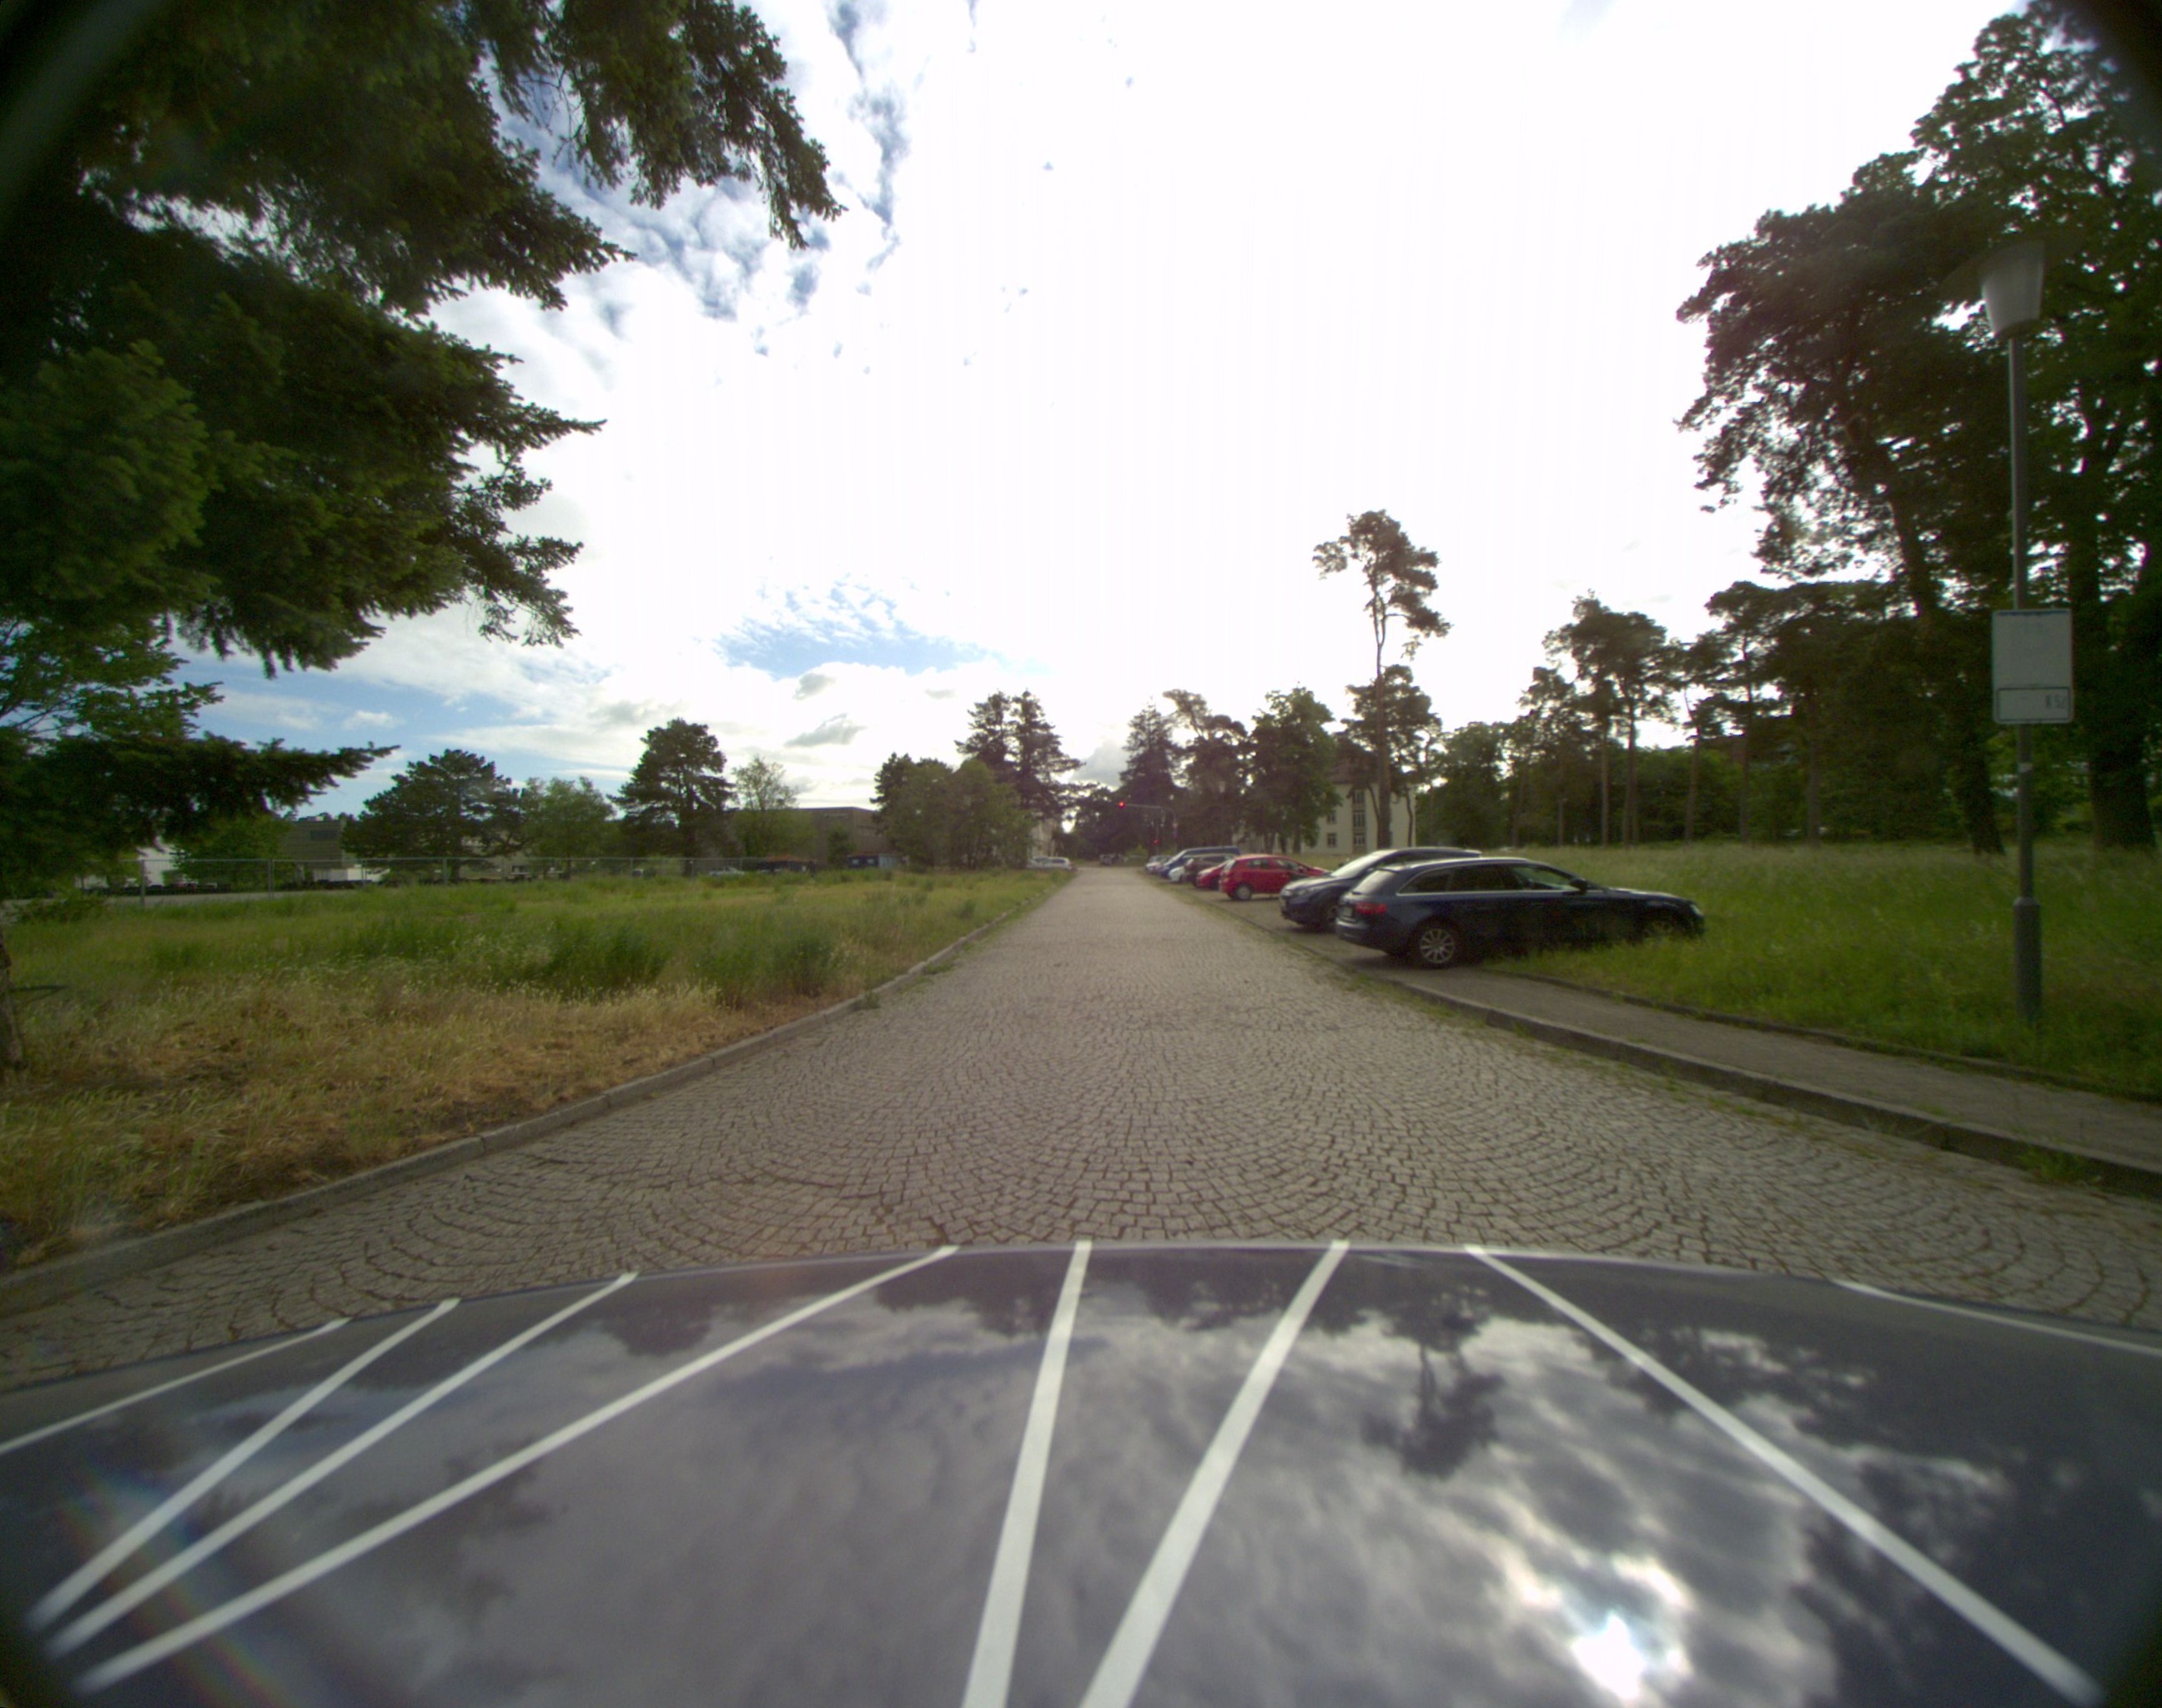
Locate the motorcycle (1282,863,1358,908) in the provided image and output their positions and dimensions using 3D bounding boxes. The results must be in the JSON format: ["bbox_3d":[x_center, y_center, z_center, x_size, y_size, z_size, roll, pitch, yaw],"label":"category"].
[{"bbox_3d":[6.634,0.869,21.094,1.914,1.186,0.550,-1,1,-3],"label":"motorcycle"}]

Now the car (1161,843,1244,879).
[{"bbox_3d":[7.099,0.403,44.851,4.542,1.891,1.793,-3,1,0],"label":"car"}]

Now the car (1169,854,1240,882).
[{"bbox_3d":[6.838,0.765,42.339,3.692,1.331,1.584,-3,0,0],"label":"car"}]

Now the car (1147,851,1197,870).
[{"bbox_3d":[7.536,0.551,63.163,3.950,1.331,1.584,-3,0,0],"label":"car"}]

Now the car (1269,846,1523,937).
[{"bbox_3d":[6.211,0.712,15.335,4.362,1.553,1.764,-2,0,0],"label":"car"}]

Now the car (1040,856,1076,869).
[{"bbox_3d":[-2.126,0.769,70.407,3.267,1.081,1.396,-1,0,-2],"label":"car"}]

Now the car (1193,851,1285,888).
[{"bbox_3d":[6.884,0.654,33.291,3.660,1.413,1.577,-3,0,0],"label":"car"}]

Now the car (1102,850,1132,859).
[{"bbox_3d":[6.432,0.101,135.441,4.985,1.612,1.900,-1,0,-5],"label":"car"}]

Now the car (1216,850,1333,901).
[{"bbox_3d":[6.463,0.700,25.637,3.497,1.473,1.602,-3,0,0],"label":"car"}]

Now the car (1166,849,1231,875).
[{"bbox_3d":[7.695,0.520,49.992,3.950,1.426,1.584,-3,0,0],"label":"car"}]

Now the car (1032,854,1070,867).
[{"bbox_3d":[-2.897,0.619,73.348,3.593,1.203,1.584,-1,0,0],"label":"car"}]

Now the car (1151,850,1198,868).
[{"bbox_3d":[8.423,0.442,68.593,3.950,1.331,1.584,-3,0,0],"label":"car"}]

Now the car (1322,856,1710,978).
[{"bbox_3d":[5.849,0.828,10.675,4.350,1.397,1.764,-3,0,4],"label":"car"}]

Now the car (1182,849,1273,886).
[{"bbox_3d":[6.891,0.622,35.998,3.950,1.536,1.764,-3,0,0],"label":"car"}]

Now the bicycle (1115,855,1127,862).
[{"bbox_3d":[6.240,0.649,118.103,1.861,1.089,0.510,-1,1,-6],"label":"bicycle"}]

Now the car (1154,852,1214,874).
[{"bbox_3d":[7.180,0.630,53.076,3.950,1.331,1.584,-3,0,0],"label":"car"}]

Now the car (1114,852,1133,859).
[{"bbox_3d":[7.347,0.252,132.152,3.118,1.046,1.339,-1,0,-5],"label":"car"}]

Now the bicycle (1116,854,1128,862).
[{"bbox_3d":[6.461,0.634,118.924,1.861,1.089,0.510,-1,1,-6],"label":"bicycle"}]

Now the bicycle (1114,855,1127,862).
[{"bbox_3d":[6.080,0.662,117.671,1.861,1.089,0.510,-1,1,-6],"label":"bicycle"}]

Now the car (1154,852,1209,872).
[{"bbox_3d":[7.760,0.620,58.768,3.950,1.331,1.584,-3,0,0],"label":"car"}]

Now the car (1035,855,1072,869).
[{"bbox_3d":[-2.459,0.702,67.959,3.267,1.081,1.449,-1,0,-2],"label":"car"}]
